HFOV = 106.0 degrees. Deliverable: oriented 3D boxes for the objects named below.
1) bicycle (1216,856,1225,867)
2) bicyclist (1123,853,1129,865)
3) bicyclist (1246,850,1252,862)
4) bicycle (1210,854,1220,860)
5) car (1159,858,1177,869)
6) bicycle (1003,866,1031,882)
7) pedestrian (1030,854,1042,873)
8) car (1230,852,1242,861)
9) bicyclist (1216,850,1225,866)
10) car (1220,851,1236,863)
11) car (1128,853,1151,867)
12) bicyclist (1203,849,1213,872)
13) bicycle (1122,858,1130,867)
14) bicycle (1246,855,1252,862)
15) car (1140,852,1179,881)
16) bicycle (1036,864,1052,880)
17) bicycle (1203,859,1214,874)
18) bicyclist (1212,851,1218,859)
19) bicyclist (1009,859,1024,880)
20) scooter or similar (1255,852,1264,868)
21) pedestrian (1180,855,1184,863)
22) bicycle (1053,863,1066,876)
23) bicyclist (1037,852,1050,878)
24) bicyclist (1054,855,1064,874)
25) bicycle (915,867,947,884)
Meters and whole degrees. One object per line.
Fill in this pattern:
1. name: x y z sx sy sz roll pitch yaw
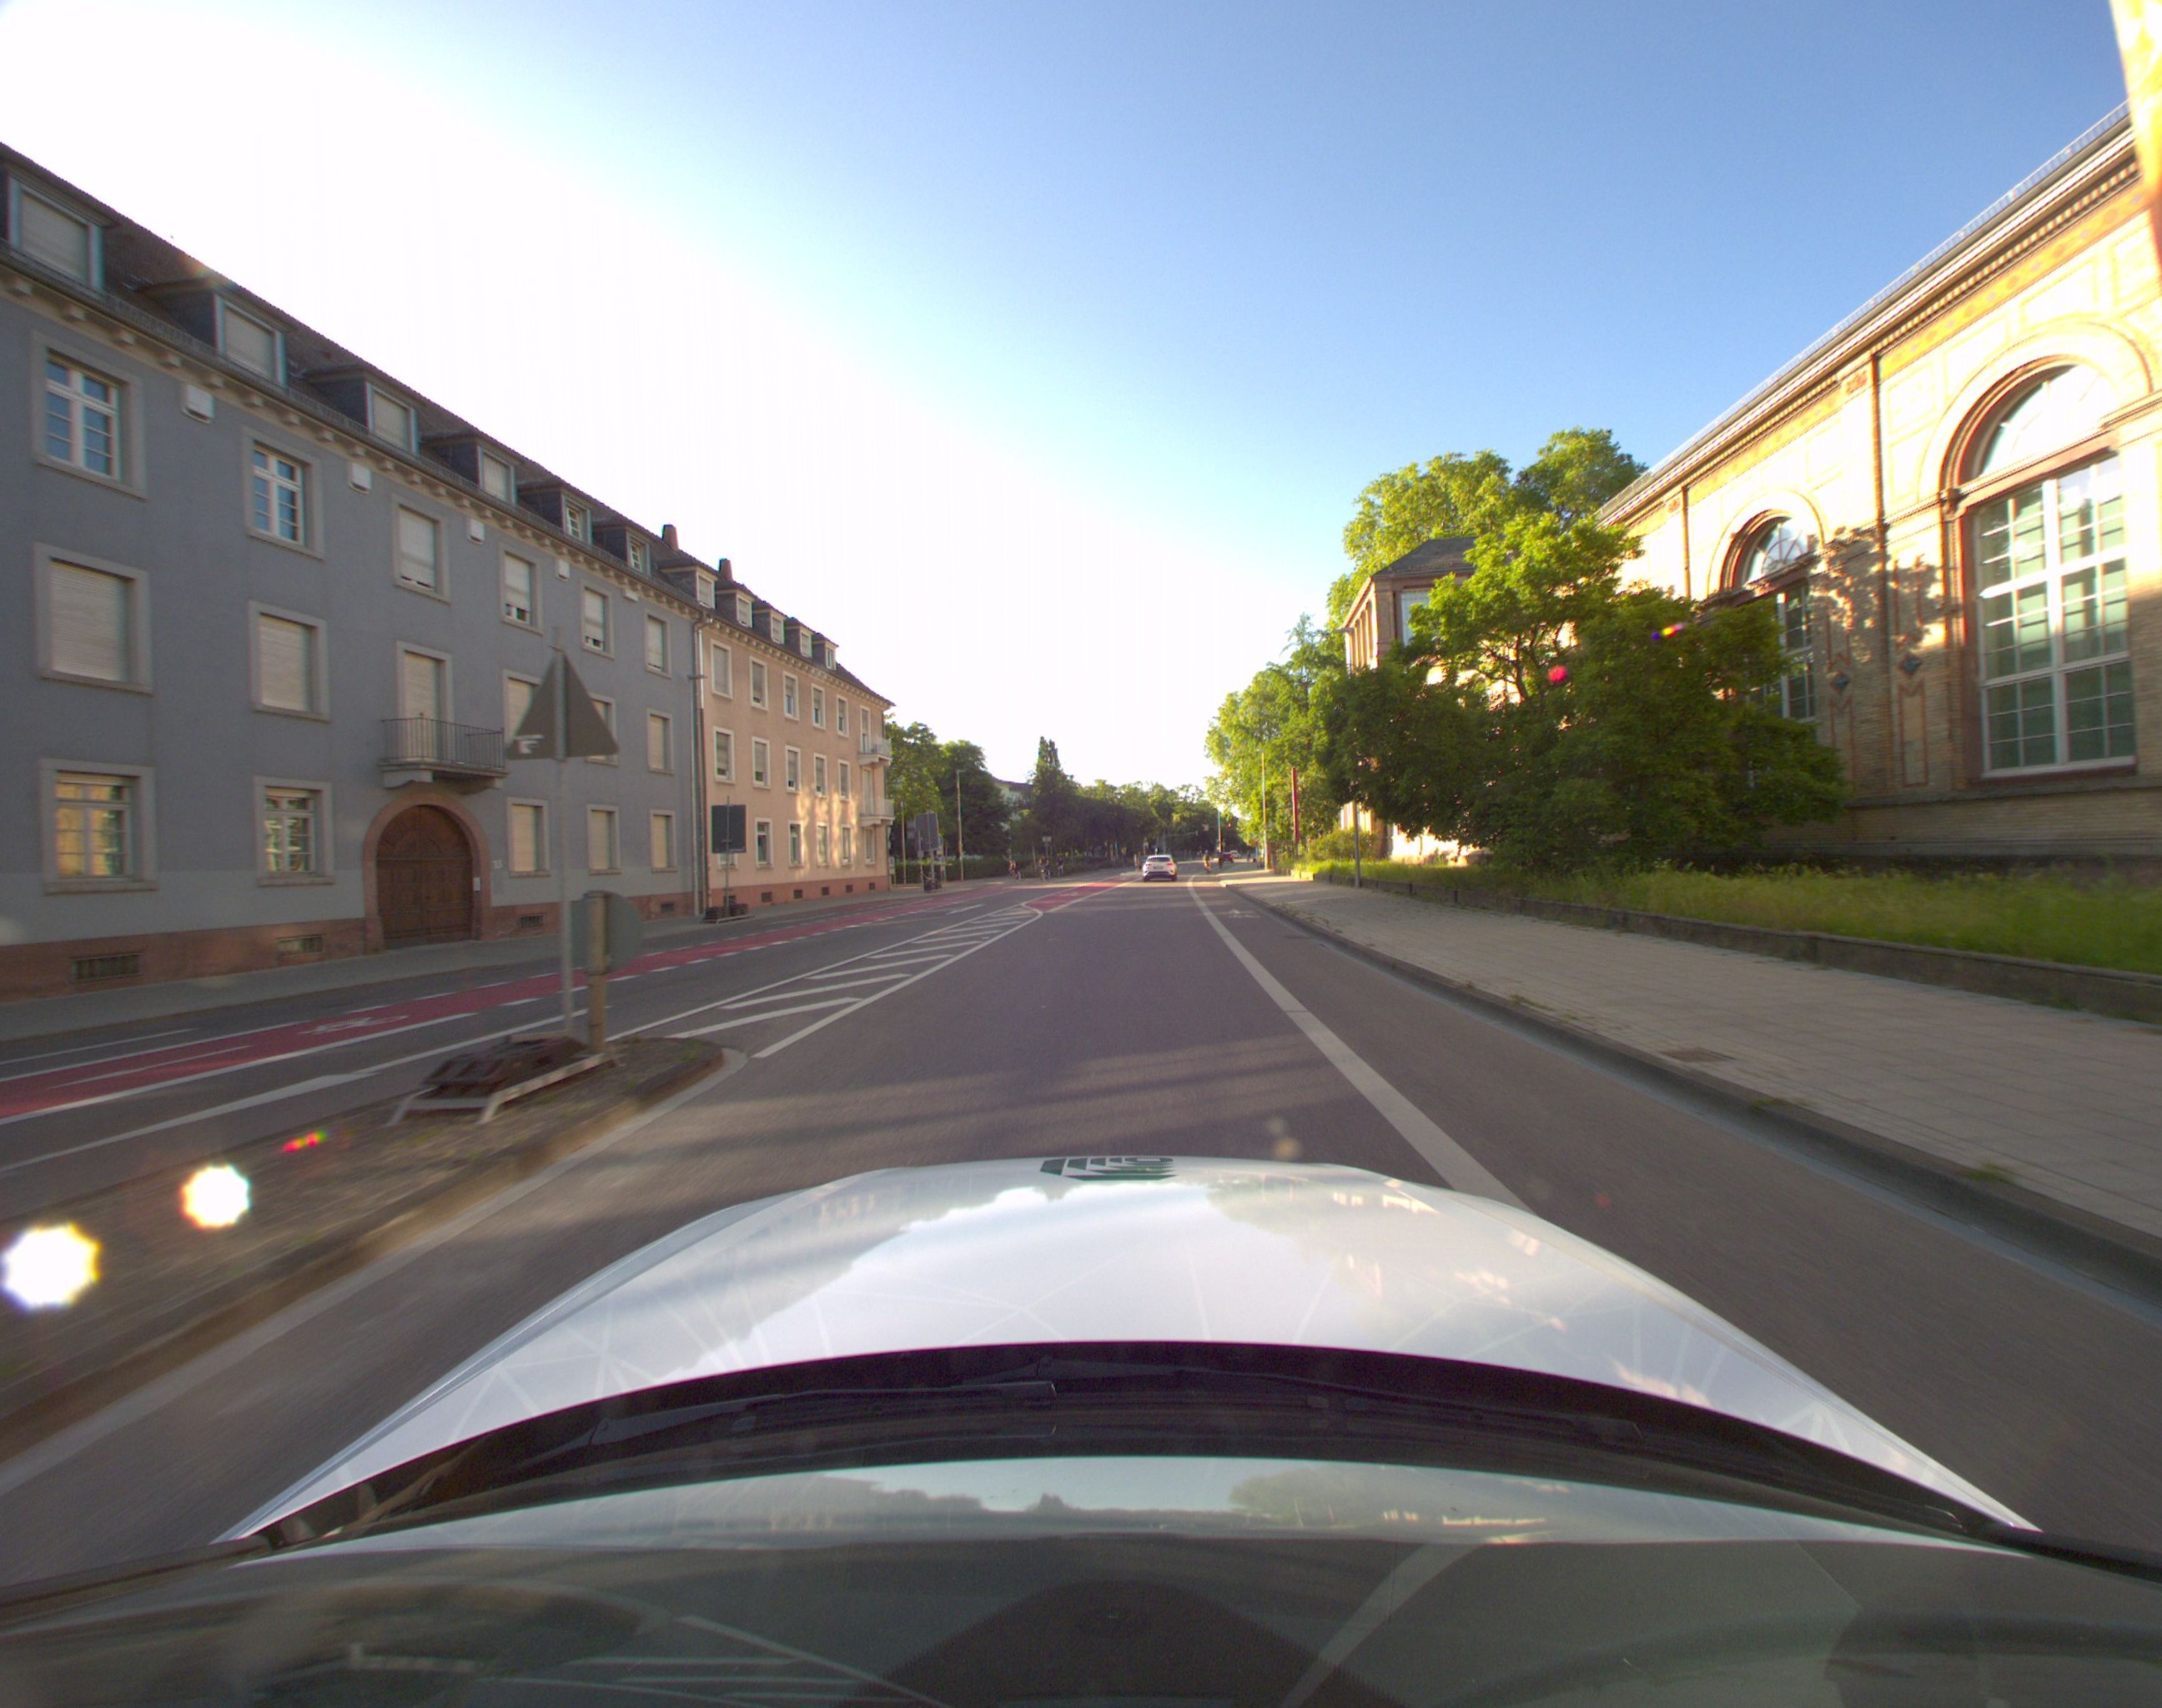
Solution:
1. bicycle: 13.838 0.737 80.778 0.748 1.026 1.876 -1 -1 14
2. bicyclist: 5.915 0.624 106.954 0.625 1.522 0.727 -5 -1 11
3. bicyclist: 25.061 0.306 121.274 0.744 1.750 0.846 -2 0 13
4. bicycle: 25.822 0.524 156.538 1.751 0.990 0.515 -3 -1 20
5. car: 12.544 1.333 117.310 1.745 1.459 4.017 -3 0 16
6. bicycle: -4.708 1.478 60.097 0.730 0.995 2.122 -3 1 42
7. pedestrian: -4.697 0.992 85.208 0.850 1.851 1.004 -3 -1 12
8. car: 28.579 0.401 150.348 1.724 1.546 4.017 -3 0 15
9. bicyclist: 13.841 0.376 80.867 0.742 1.537 0.973 -2 0 13
10. car: 21.785 0.420 120.542 1.915 1.533 4.015 -3 -1 14
11. car: 6.708 0.631 92.541 1.799 1.419 4.571 -3 0 13
12. bicyclist: 9.085 0.432 58.214 0.632 1.614 1.288 -2 0 11
13. bicycle: 5.942 1.061 106.938 0.593 1.120 2.033 -6 -1 11
14. bicycle: 25.056 0.689 121.253 0.748 1.026 1.876 -1 -1 14
15. car: 4.524 0.674 46.399 1.982 1.453 4.009 -3 -1 8
16. bicycle: -2.474 1.184 54.589 0.642 0.995 2.114 -4 0 8
17. bicycle: 9.094 0.905 58.184 0.639 1.025 2.219 -1 0 11
18. bicyclist: 25.792 0.167 156.546 0.914 1.509 0.509 -3 -1 21
19. bicyclist: -4.739 1.126 60.111 0.730 1.485 0.669 -5 -1 42
20. scooter or similar: 14.317 0.503 65.349 0.296 1.240 1.160 -3 -1 -3
21. pedestrian: 24.397 1.217 196.364 0.646 1.888 0.665 -3 -1 16
22. bicycle: -1.771 1.258 68.044 0.648 0.995 2.114 -4 0 8
23. bicyclist: -2.508 0.742 54.680 0.632 1.710 0.740 -5 -1 8
24. bicyclist: -1.844 0.861 67.966 0.652 1.485 0.666 -5 -1 7
25. bicycle: -11.526 1.645 62.420 2.304 1.230 0.562 -3 0 12
